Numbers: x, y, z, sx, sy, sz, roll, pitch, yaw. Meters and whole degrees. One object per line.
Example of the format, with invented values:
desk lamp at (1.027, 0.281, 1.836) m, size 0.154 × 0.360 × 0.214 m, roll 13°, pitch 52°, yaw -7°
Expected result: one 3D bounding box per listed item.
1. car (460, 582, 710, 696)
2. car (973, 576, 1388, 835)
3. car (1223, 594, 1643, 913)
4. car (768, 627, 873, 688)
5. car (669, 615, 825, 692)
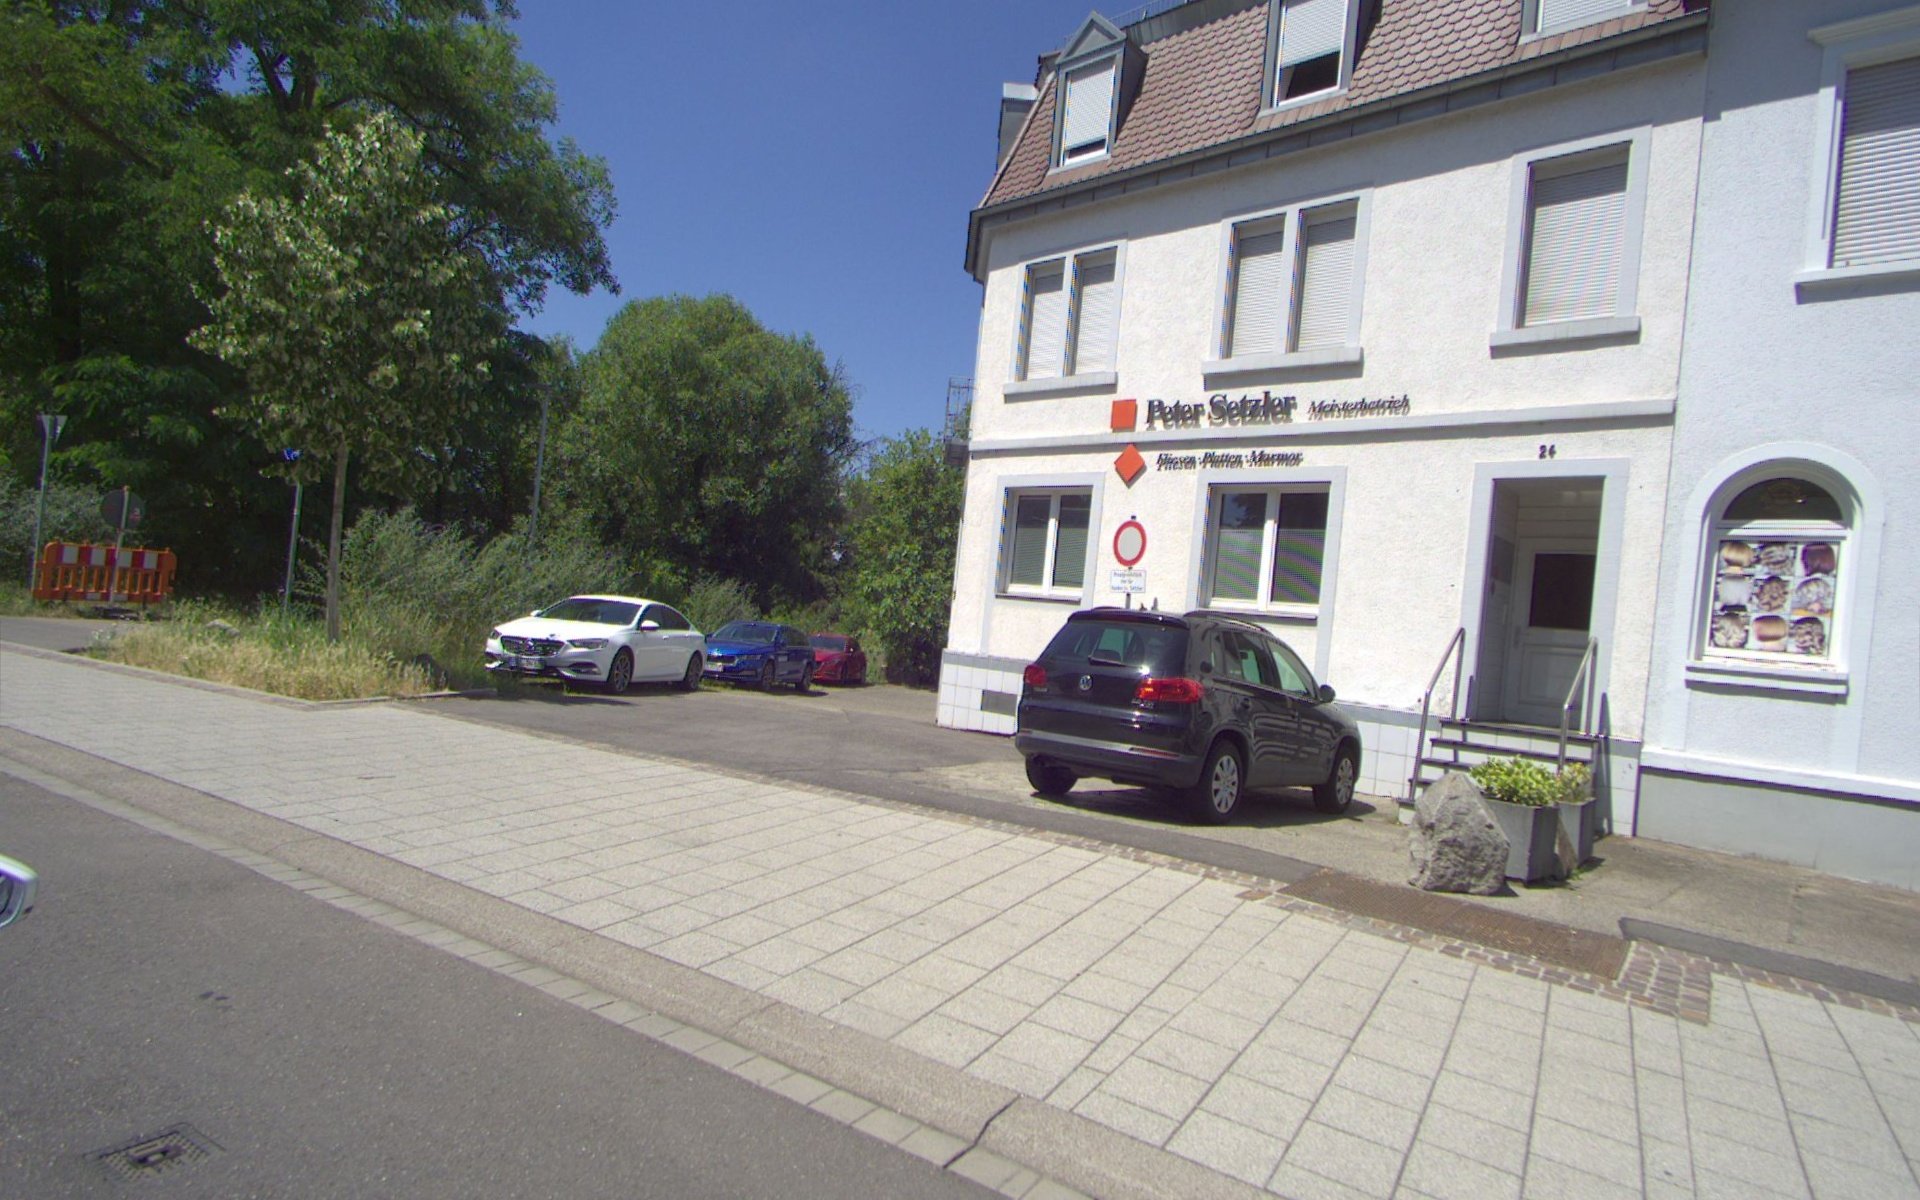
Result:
car at (-5.498, 0.645, 15.429) m, size 1.825 × 1.365 × 4.209 m, roll 5°, pitch -3°, yaw 6°
car at (2.203, 0.956, 9.158) m, size 1.831 × 1.735 × 4.072 m, roll 5°, pitch -3°, yaw 41°
car at (3.914, 1.110, 7.910) m, size 1.831 × 1.735 × 4.072 m, roll 5°, pitch -3°, yaw 41°
car at (-3.928, 1.671, 29.075) m, size 1.867 × 1.451 × 4.383 m, roll 5°, pitch -3°, yaw 6°
car at (-4.497, 1.187, 21.959) m, size 1.825 × 1.365 × 4.209 m, roll 4°, pitch -3°, yaw 10°
